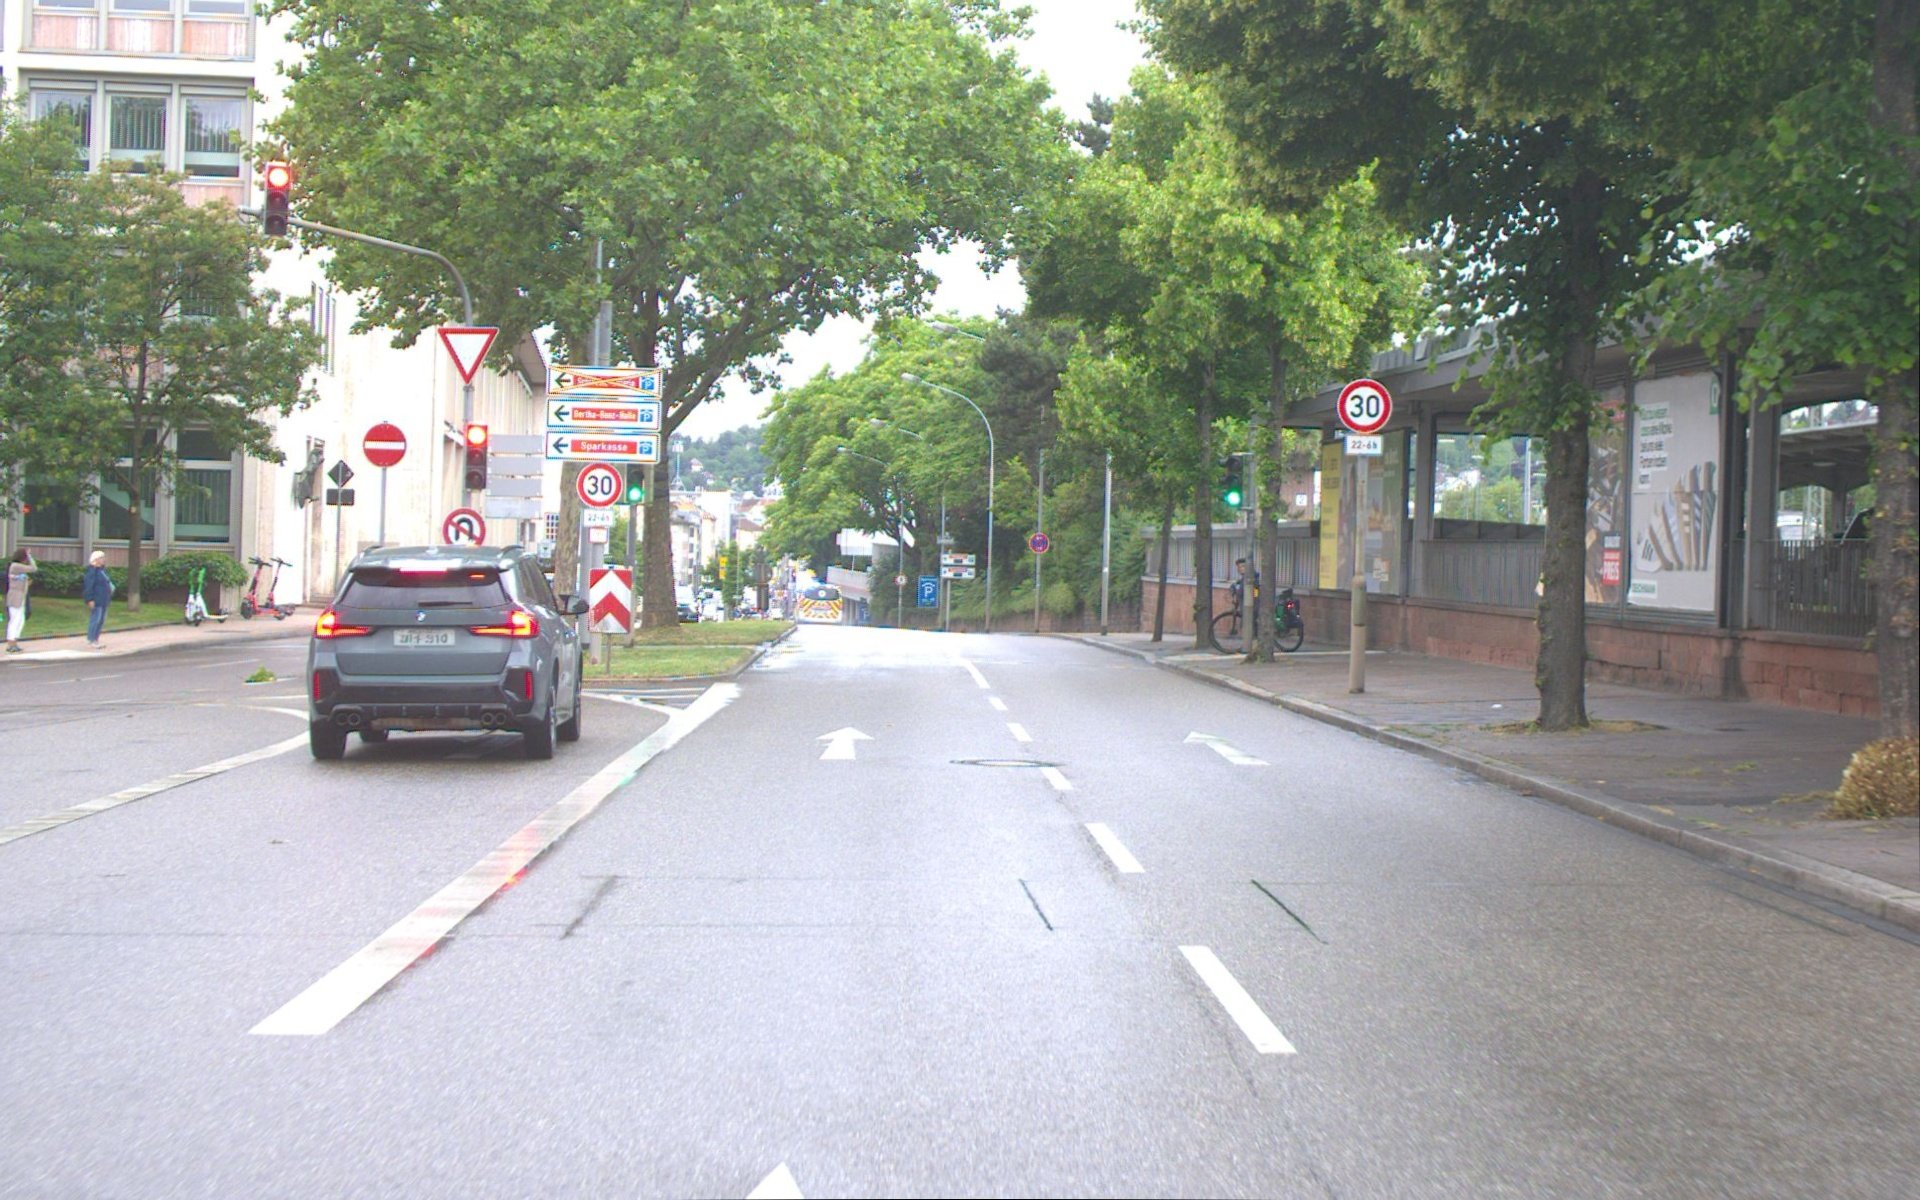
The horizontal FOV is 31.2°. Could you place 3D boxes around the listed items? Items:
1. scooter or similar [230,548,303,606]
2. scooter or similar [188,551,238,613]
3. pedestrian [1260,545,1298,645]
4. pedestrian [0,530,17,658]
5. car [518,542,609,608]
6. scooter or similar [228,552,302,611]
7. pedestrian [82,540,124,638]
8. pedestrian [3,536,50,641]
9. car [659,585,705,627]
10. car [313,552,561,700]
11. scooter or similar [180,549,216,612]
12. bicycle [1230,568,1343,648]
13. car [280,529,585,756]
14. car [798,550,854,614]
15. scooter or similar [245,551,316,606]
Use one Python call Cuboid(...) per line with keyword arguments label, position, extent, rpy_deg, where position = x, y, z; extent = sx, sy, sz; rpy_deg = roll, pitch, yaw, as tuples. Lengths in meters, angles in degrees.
Cuboid(label="scooter or similar", position=(-14.520, -0.479, 71.958), extent=(0.608, 1.188, 1.525), rpy_deg=(1, 1, 32))
Cuboid(label="scooter or similar", position=(-14.485, -0.358, 66.706), extent=(0.570, 1.188, 1.574), rpy_deg=(1, 1, 2))
Cuboid(label="pedestrian", position=(5.042, -0.080, 54.287), extent=(0.457, 1.563, 0.392), rpy_deg=(1, 1, 30))
Cuboid(label="pedestrian", position=(-15.731, -0.102, 55.084), extent=(0.935, 2.038, 0.873), rpy_deg=(0, 1, 6))
Cuboid(label="car", position=(-9.450, -0.617, 82.198), extent=(1.841, 1.503, 4.103), rpy_deg=(1, 1, -2))
Cuboid(label="scooter or similar", position=(-14.278, -0.388, 70.648), extent=(0.608, 1.188, 1.525), rpy_deg=(1, 1, 32))
Cuboid(label="pedestrian", position=(-14.213, -0.187, 57.023), extent=(0.653, 1.597, 0.925), rpy_deg=(0, 1, -13))
Cuboid(label="pedestrian", position=(-15.273, -0.191, 56.249), extent=(0.653, 1.704, 0.797), rpy_deg=(0, 1, -10))
Cuboid(label="car", position=(-11.353, 0.227, 140.315), extent=(1.821, 1.655, 4.338), rpy_deg=(1, 0, -5))
Cuboid(label="car", position=(-5.394, 0.220, 34.996), extent=(1.815, 1.404, 4.415), rpy_deg=(0, 1, -18))
Cuboid(label="scooter or similar", position=(-14.427, -0.375, 65.091), extent=(0.488, 1.163, 1.502), rpy_deg=(1, 1, -6))
Cuboid(label="bicycle", position=(5.191, 0.118, 54.729), extent=(1.723, 1.244, 0.485), rpy_deg=(1, 1, 30))
Cuboid(label="car", position=(-4.058, 0.282, 27.090), extent=(1.964, 1.634, 4.359), rpy_deg=(0, 1, -3))
Cuboid(label="car", position=(-5.720, -0.795, 146.161), extent=(2.264, 2.647, 4.001), rpy_deg=(0, 1, -3))
Cuboid(label="scooter or similar", position=(-14.484, -0.454, 73.283), extent=(0.608, 1.160, 1.525), rpy_deg=(1, 1, 32))
